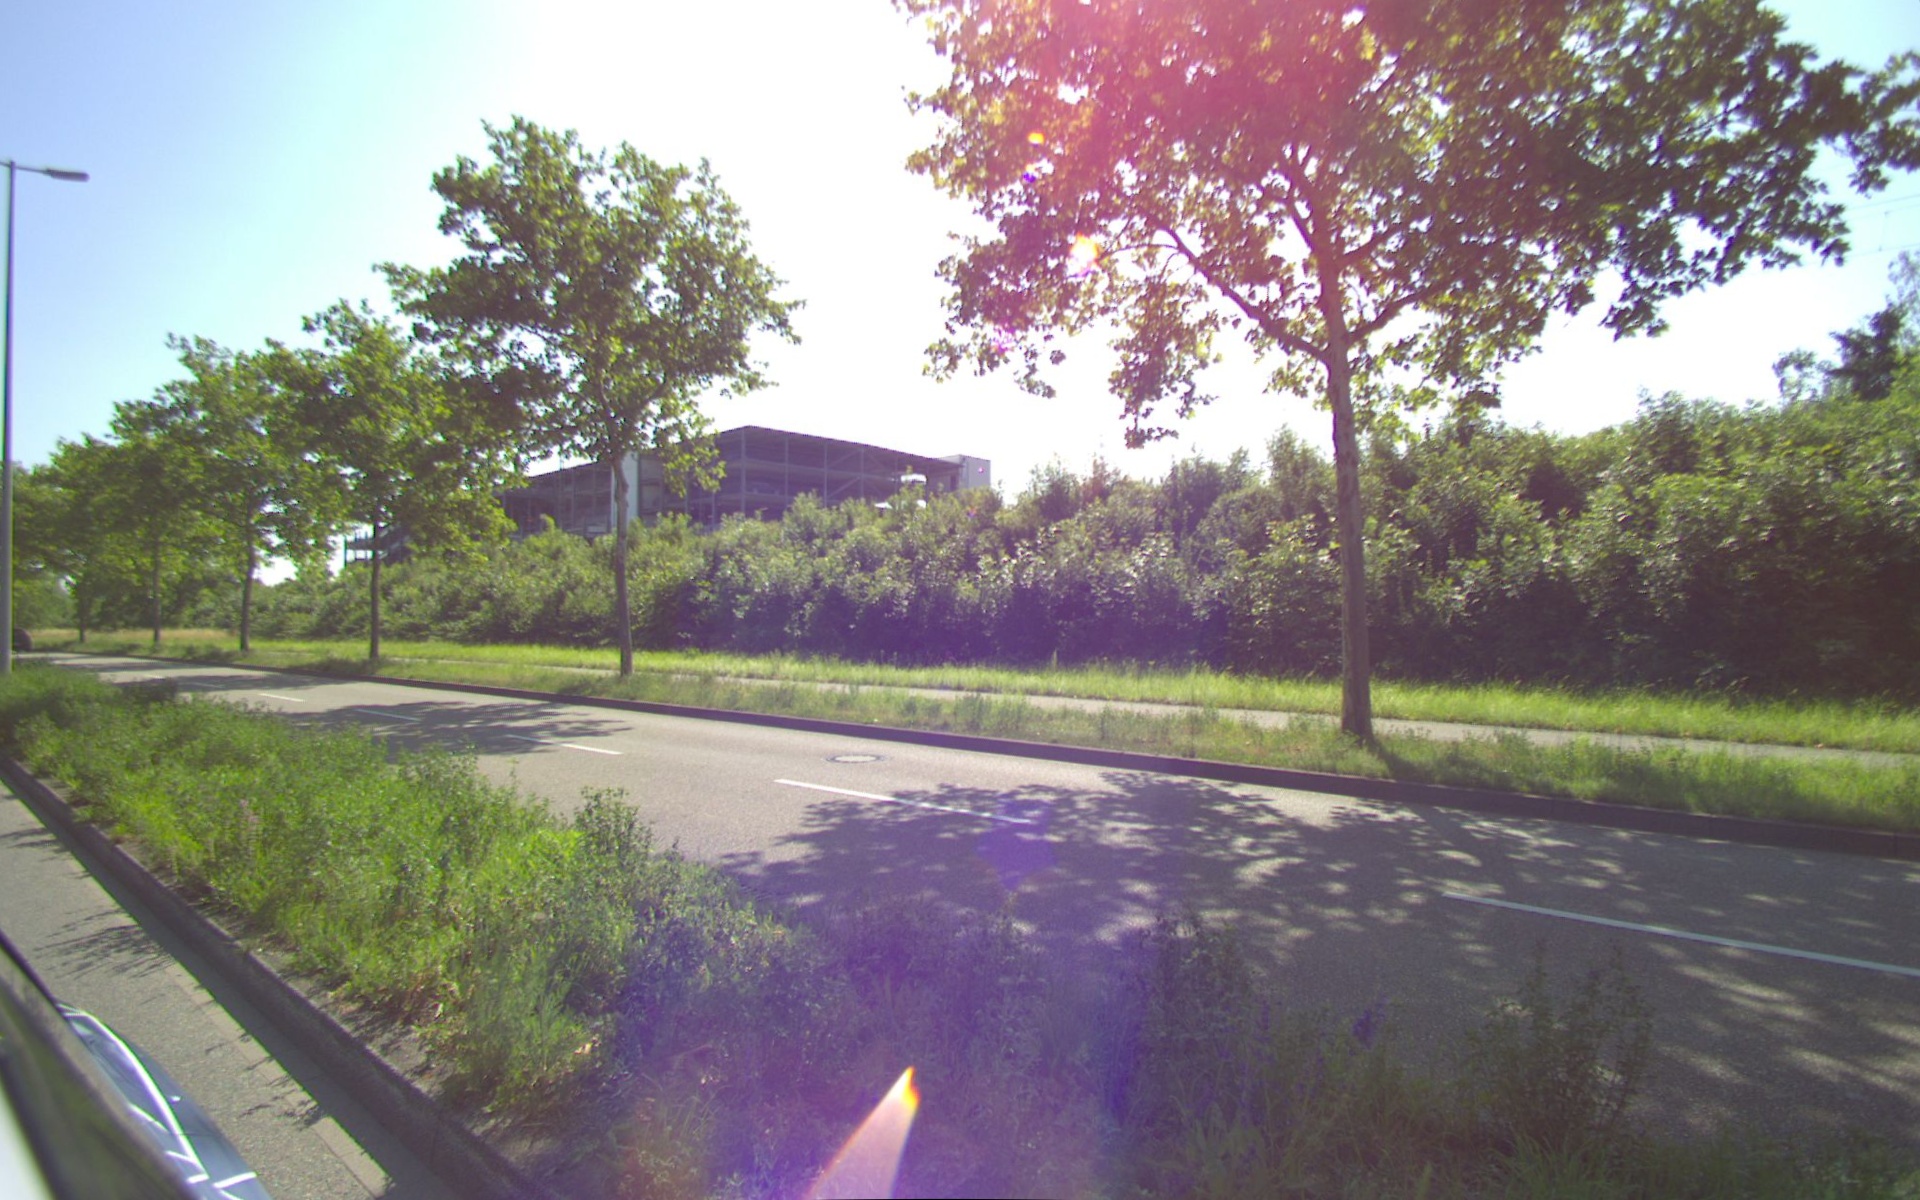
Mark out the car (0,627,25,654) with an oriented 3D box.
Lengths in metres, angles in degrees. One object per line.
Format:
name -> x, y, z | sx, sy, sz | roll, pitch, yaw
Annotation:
car -> -54.967, 2.320, 58.067 | 3.925, 1.481, 1.554 | -1, -1, 41
